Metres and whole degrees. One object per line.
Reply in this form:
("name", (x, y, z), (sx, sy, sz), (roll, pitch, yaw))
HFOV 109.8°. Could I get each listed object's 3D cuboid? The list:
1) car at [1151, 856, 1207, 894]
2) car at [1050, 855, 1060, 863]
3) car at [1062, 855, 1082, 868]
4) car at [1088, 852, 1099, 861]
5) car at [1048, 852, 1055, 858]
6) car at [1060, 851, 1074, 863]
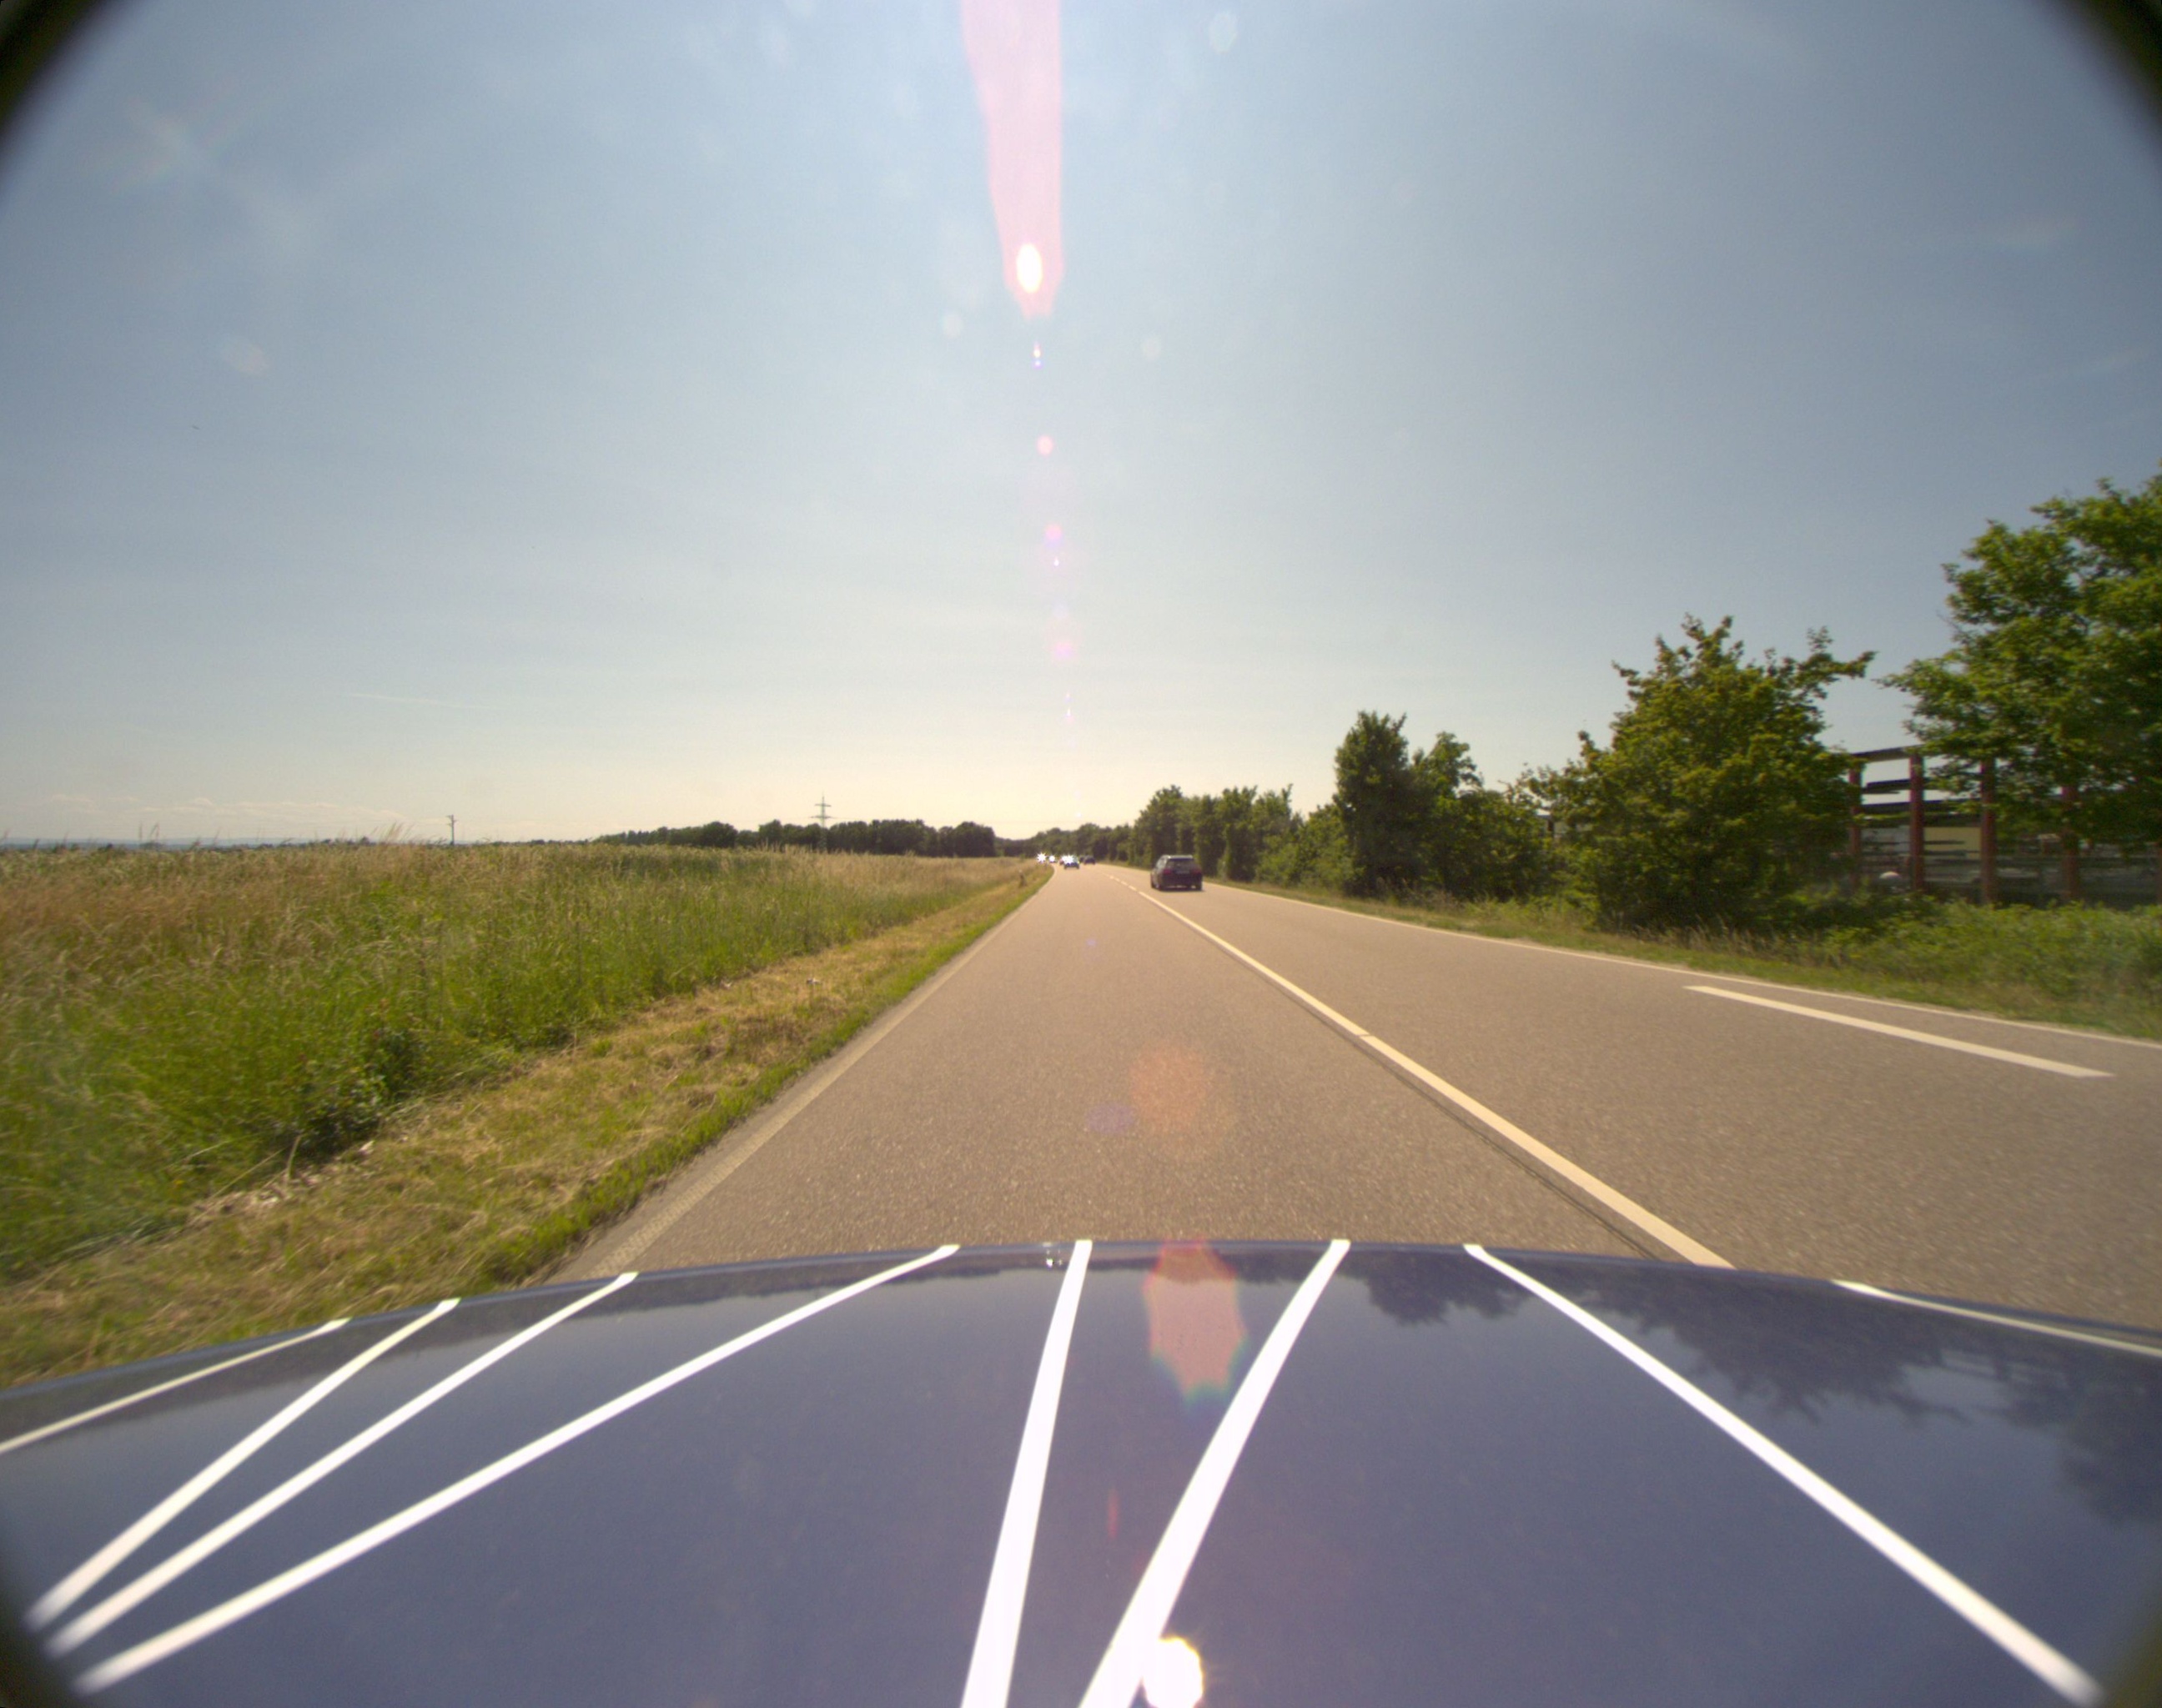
("car", (4.078, 0.842, 32.245), (1.786, 1.412, 4.533), (-2, 0, 0))
("car", (-5.721, 1.152, 166.572), (1.554, 1.659, 3.996), (-2, 1, -8))
("car", (-1.074, 0.839, 89.344), (1.694, 1.431, 3.707), (-1, 0, -11))
("car", (2.053, 0.352, 123.702), (1.657, 1.398, 4.000), (-2, 0, 0))
("car", (-9.795, 0.278, 251.276), (2.000, 2.002, 3.997), (1, 0, -8))
("car", (-2.346, 0.474, 125.978), (2.000, 2.002, 3.998), (0, 0, -6))
